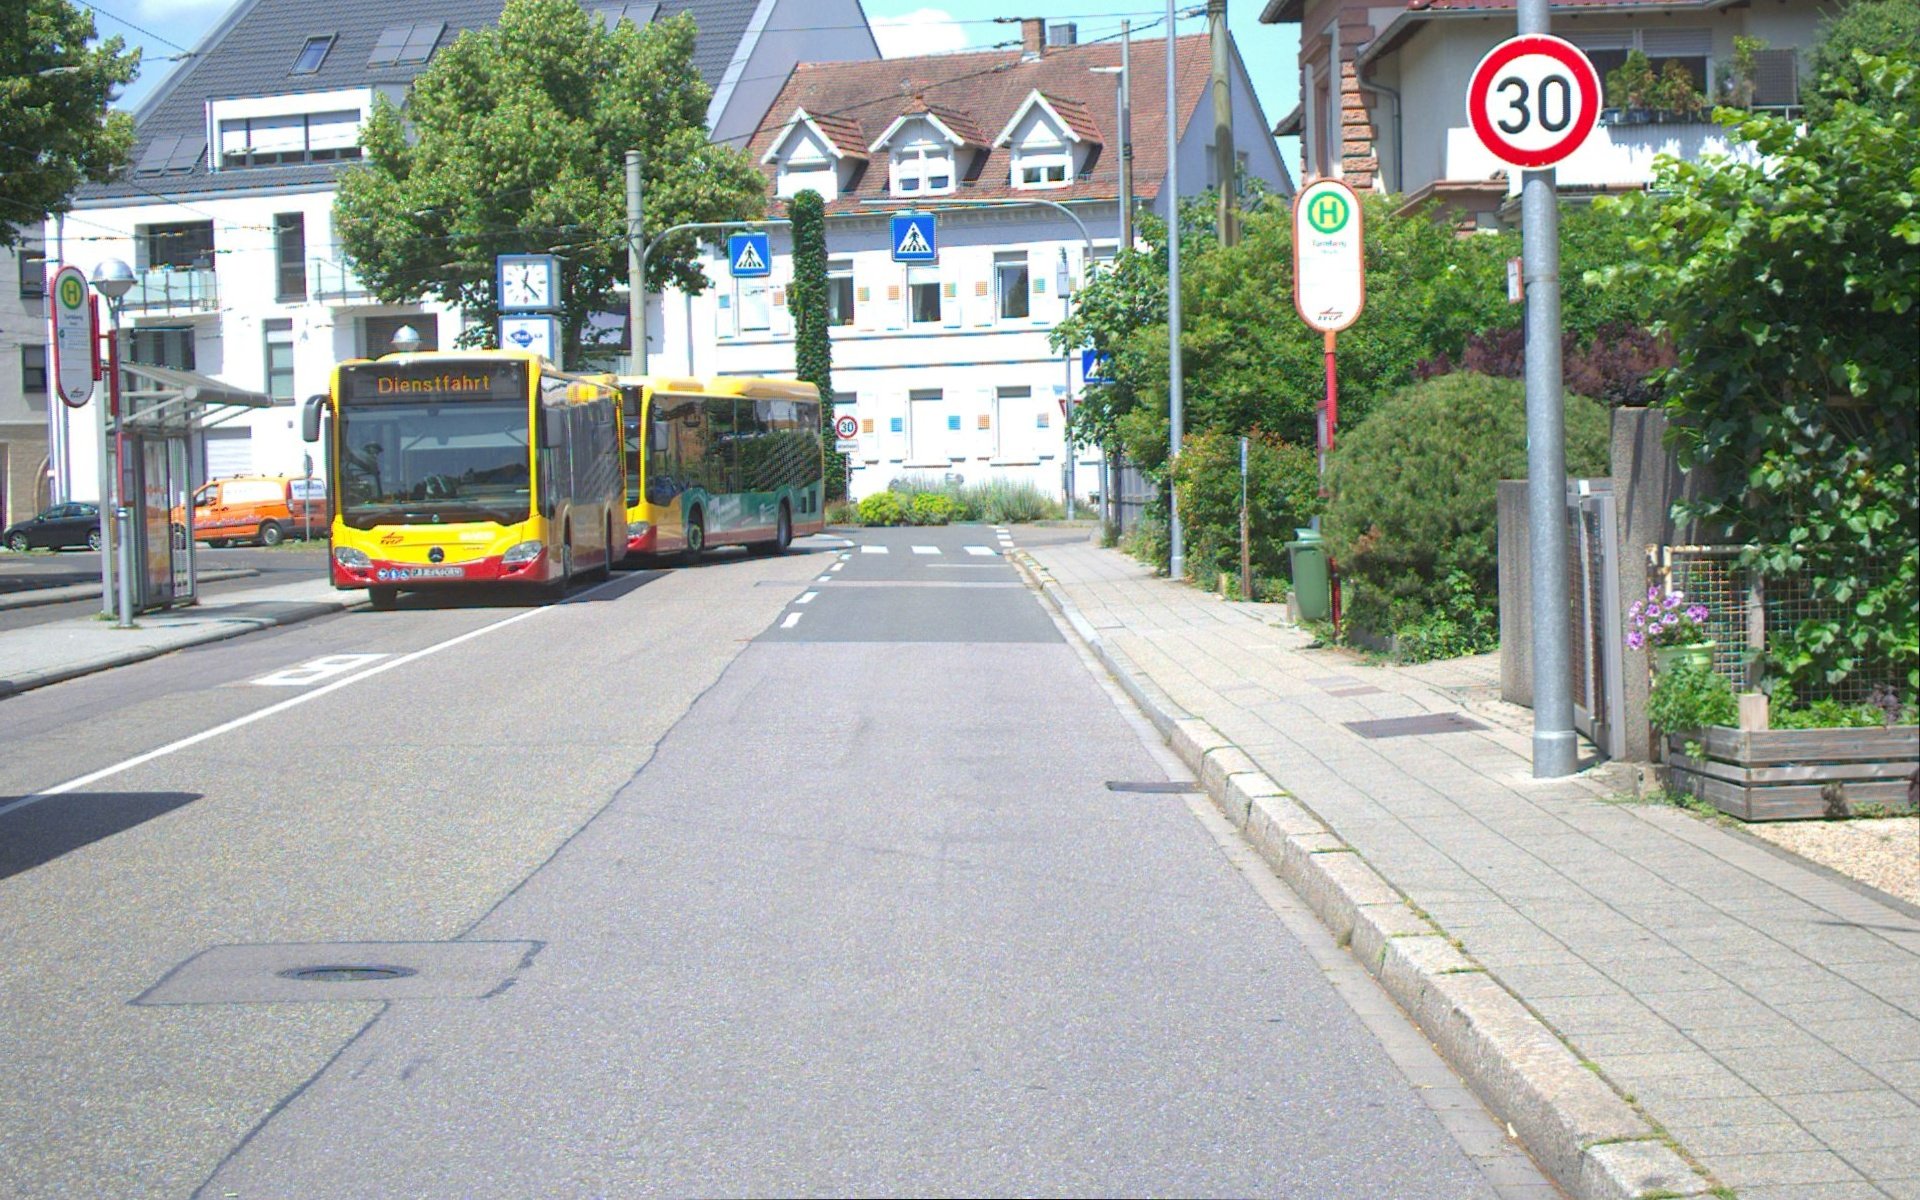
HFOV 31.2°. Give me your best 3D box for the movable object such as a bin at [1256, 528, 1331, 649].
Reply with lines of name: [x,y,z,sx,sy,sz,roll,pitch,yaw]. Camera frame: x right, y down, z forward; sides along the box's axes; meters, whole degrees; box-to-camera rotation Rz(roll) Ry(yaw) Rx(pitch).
movable object such as a bin: [2.595,-0.093,26.766,0.406,0.904,0.729,-5,1,-3]

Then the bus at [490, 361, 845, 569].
bus: [-4.762,-2.376,59.419,2.781,3.197,12.302,1,3,11]

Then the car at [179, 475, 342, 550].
car: [-19.133,-2.391,93.997,3.993,2.007,1.997,1,0,29]

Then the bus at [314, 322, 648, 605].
bus: [-6.110,-1.737,45.938,2.907,3.236,12.120,1,1,-1]

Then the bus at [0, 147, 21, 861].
bus: [-5.809,-0.393,9.760,2.898,3.236,12.197,1,1,0]

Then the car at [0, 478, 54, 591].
car: [-12.972,-0.826,42.475,3.277,1.368,1.469,1,0,-9]
